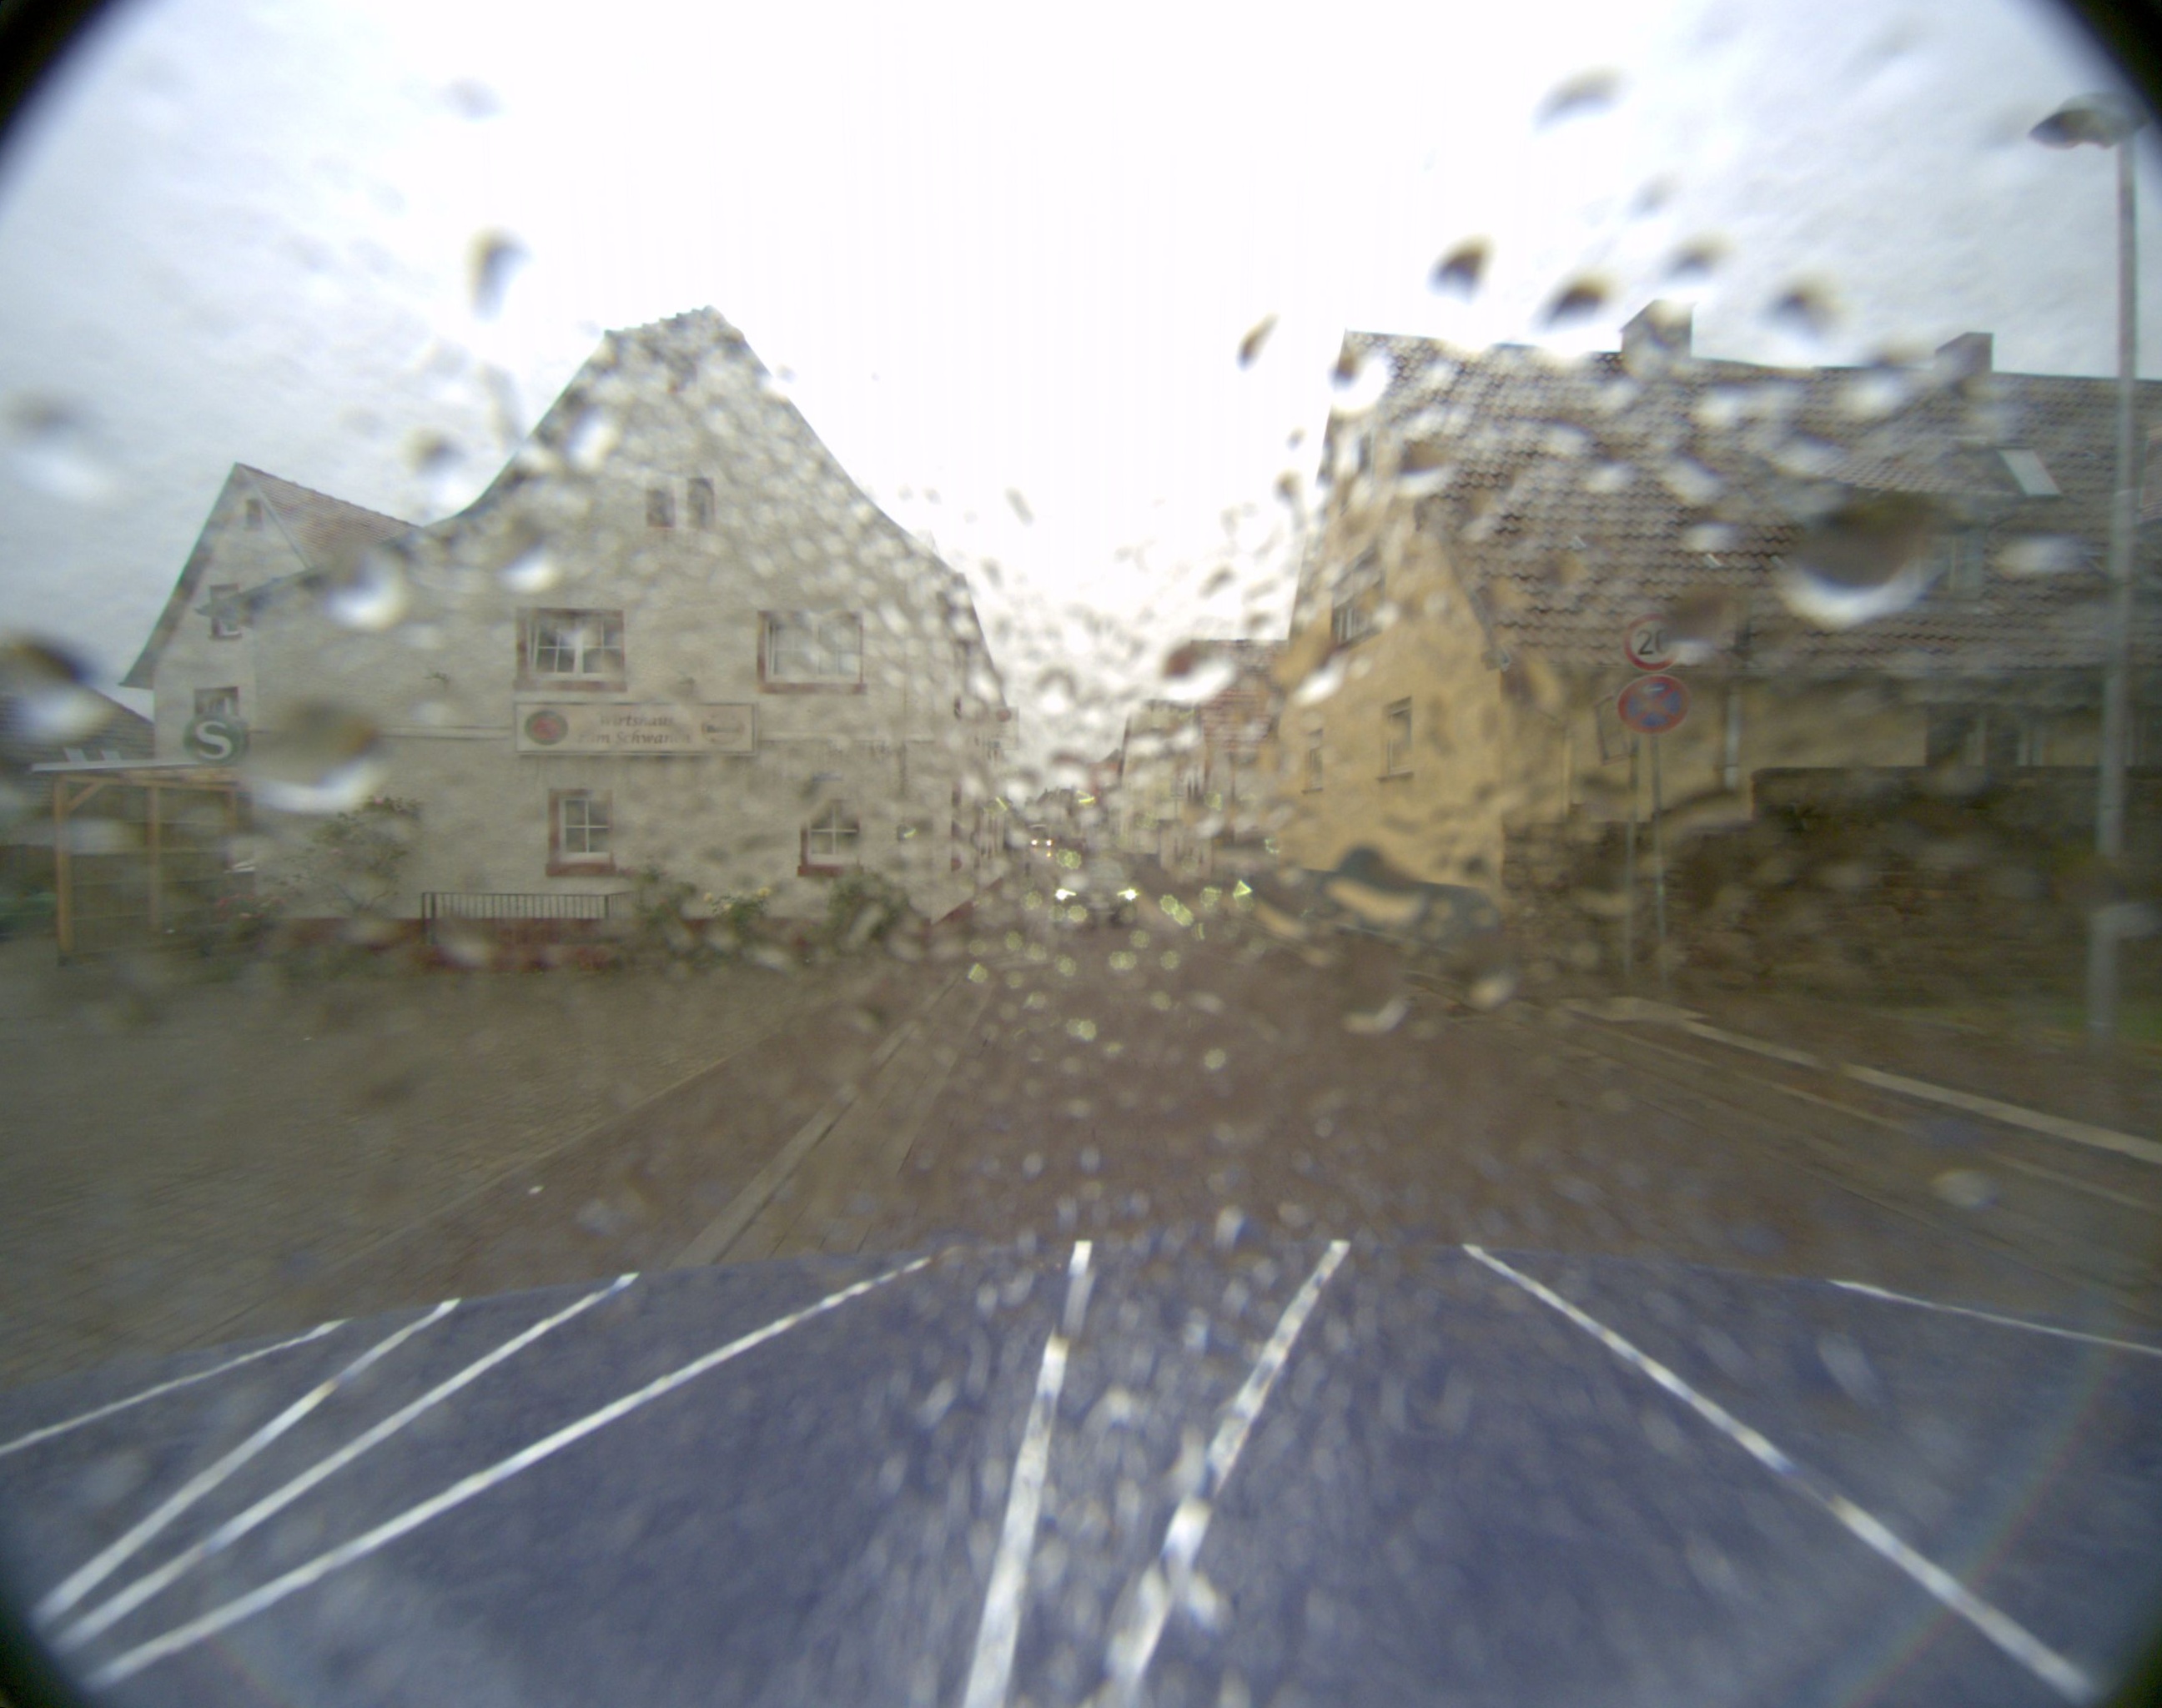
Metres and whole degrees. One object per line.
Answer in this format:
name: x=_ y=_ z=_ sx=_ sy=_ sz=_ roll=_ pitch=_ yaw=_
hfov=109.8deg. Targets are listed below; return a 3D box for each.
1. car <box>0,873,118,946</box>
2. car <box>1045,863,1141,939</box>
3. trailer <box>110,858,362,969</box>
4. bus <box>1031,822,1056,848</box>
car: x=-22.354 y=1.155 z=14.965 sx=1.630 sy=1.368 sz=3.830 roll=0 pitch=1 yaw=14
car: x=0.238 y=0.926 z=16.451 sx=1.801 sy=1.342 sz=3.737 roll=-1 pitch=0 yaw=0
trailer: x=-14.943 y=0.978 z=13.634 sx=1.573 sy=1.732 sz=2.609 roll=-1 pitch=1 yaw=-2
bus: x=-5.605 y=-2.864 z=111.403 sx=2.894 sy=3.590 sz=11.968 roll=0 pitch=2 yaw=-6
